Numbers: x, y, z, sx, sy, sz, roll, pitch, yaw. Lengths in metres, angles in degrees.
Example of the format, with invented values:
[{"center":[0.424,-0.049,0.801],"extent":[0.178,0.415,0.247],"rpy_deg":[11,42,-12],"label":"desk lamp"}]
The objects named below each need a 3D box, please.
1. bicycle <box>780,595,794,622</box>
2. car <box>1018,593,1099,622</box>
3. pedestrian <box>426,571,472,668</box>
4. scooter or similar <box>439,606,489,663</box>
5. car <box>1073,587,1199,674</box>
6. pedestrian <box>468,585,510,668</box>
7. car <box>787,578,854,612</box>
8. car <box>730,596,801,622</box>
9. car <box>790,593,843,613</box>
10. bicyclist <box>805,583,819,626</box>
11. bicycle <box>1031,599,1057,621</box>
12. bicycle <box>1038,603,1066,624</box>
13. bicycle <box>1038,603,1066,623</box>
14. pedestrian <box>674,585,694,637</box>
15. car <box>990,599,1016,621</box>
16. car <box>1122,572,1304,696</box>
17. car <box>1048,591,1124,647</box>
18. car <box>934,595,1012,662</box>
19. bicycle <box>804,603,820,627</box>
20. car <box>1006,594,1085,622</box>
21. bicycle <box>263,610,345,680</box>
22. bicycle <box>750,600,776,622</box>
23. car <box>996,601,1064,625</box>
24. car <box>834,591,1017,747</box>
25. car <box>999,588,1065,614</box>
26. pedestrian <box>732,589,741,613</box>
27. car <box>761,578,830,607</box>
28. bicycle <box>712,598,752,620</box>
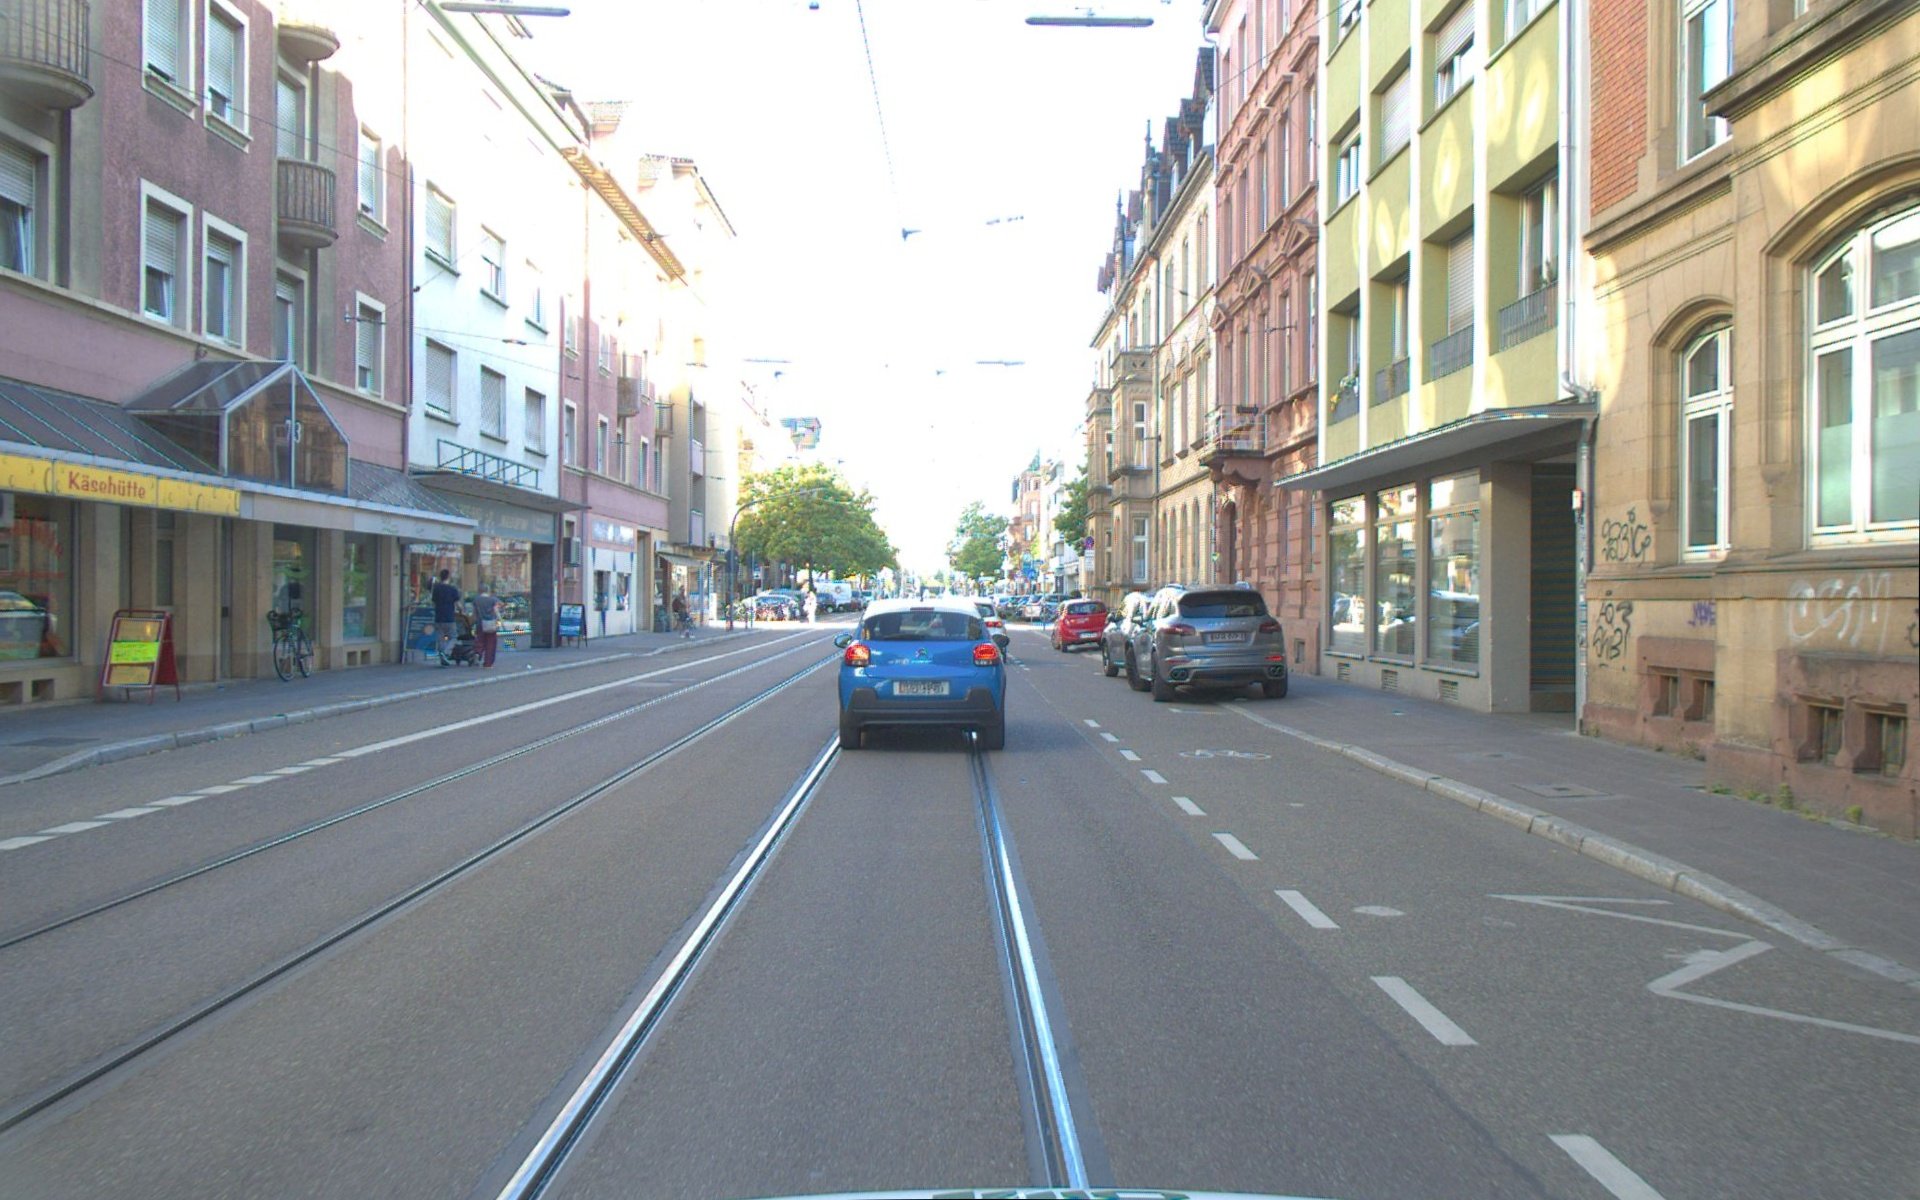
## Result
[{"center":[-9.391,0.445,89.730],"extent":[0.668,1.342,2.434],"rpy_deg":[1,2,-4],"label":"bicycle"},{"center":[5.691,0.422,95.366],"extent":[4.296,1.624,1.839],"rpy_deg":[1,0,-26],"label":"car"},{"center":[-9.786,0.367,31.685],"extent":[0.613,1.821,0.821],"rpy_deg":[1,-1,-1],"label":"pedestrian"},{"center":[-9.790,0.668,32.663],"extent":[0.648,1.080,1.105],"rpy_deg":[1,0,0],"label":"scooter or similar"},{"center":[3.610,0.607,34.618],"extent":[1.829,1.675,4.397],"rpy_deg":[1,0,-5],"label":"car"},{"center":[-9.060,0.503,31.831],"extent":[0.623,1.576,0.623],"rpy_deg":[1,-1,-1],"label":"pedestrian"},{"center":[-11.658,-0.413,138.345],"extent":[5.315,2.797,1.787],"rpy_deg":[1,-1,-31],"label":"car"},{"center":[-11.282,0.533,96.110],"extent":[3.745,1.424,1.734],"rpy_deg":[1,0,-34],"label":"car"},{"center":[-11.494,0.248,132.350],"extent":[3.924,1.515,1.797],"rpy_deg":[1,0,-17],"label":"car"},{"center":[-7.163,0.230,80.196],"extent":[0.599,2.049,0.733],"rpy_deg":[1,-1,0],"label":"bicyclist"},{"center":[4.550,0.554,89.552],"extent":[1.368,1.147,0.551],"rpy_deg":[1,-1,0],"label":"bicycle"},{"center":[5.111,0.752,91.945],"extent":[1.527,1.147,0.295],"rpy_deg":[1,-1,6],"label":"bicycle"},{"center":[5.078,0.731,91.621],"extent":[1.523,1.098,0.307],"rpy_deg":[1,-1,6],"label":"bicycle"},{"center":[-9.272,0.360,55.622],"extent":[0.552,1.715,0.616],"rpy_deg":[1,-1,-2],"label":"pedestrian"},{"center":[3.278,0.775,125.990],"extent":[1.835,1.624,4.719],"rpy_deg":[1,0,0],"label":"car"},{"center":[3.799,0.489,25.653],"extent":[1.953,1.644,4.785],"rpy_deg":[-3,0,-1],"label":"car"},{"center":[3.759,0.553,49.925],"extent":[1.828,1.508,4.400],"rpy_deg":[-3,0,-1],"label":"car"},{"center":[0.262,0.645,38.616],"extent":[1.726,1.466,3.556],"rpy_deg":[1,0,-1],"label":"car"},{"center":[-7.159,0.707,80.022],"extent":[0.590,1.115,2.044],"rpy_deg":[-2,0,0],"label":"bicycle"},{"center":[5.250,0.492,101.015],"extent":[4.378,1.624,2.072],"rpy_deg":[1,0,-25],"label":"car"},{"center":[-10.538,0.700,26.641],"extent":[0.416,1.078,2.329],"rpy_deg":[1,0,-1],"label":"bicycle"},{"center":[-10.779,0.599,90.483],"extent":[0.675,1.143,1.868],"rpy_deg":[0,2,-31],"label":"bicycle"},{"center":[4.840,0.899,113.740],"extent":[4.248,1.624,1.967],"rpy_deg":[1,0,-26],"label":"car"},{"center":[-0.356,0.665,17.620],"extent":[1.726,1.466,3.556],"rpy_deg":[1,0,-1],"label":"car"},{"center":[4.864,0.066,111.215],"extent":[3.936,1.624,2.071],"rpy_deg":[1,0,-25],"label":"car"},{"center":[-15.638,0.066,115.765],"extent":[0.557,1.681,0.641],"rpy_deg":[1,-1,-1],"label":"pedestrian"},{"center":[-11.179,-0.500,112.398],"extent":[4.313,1.814,1.973],"rpy_deg":[1,0,-33],"label":"car"},{"center":[-12.416,0.484,90.025],"extent":[2.390,1.128,0.680],"rpy_deg":[3,3,40],"label":"bicycle"}]
